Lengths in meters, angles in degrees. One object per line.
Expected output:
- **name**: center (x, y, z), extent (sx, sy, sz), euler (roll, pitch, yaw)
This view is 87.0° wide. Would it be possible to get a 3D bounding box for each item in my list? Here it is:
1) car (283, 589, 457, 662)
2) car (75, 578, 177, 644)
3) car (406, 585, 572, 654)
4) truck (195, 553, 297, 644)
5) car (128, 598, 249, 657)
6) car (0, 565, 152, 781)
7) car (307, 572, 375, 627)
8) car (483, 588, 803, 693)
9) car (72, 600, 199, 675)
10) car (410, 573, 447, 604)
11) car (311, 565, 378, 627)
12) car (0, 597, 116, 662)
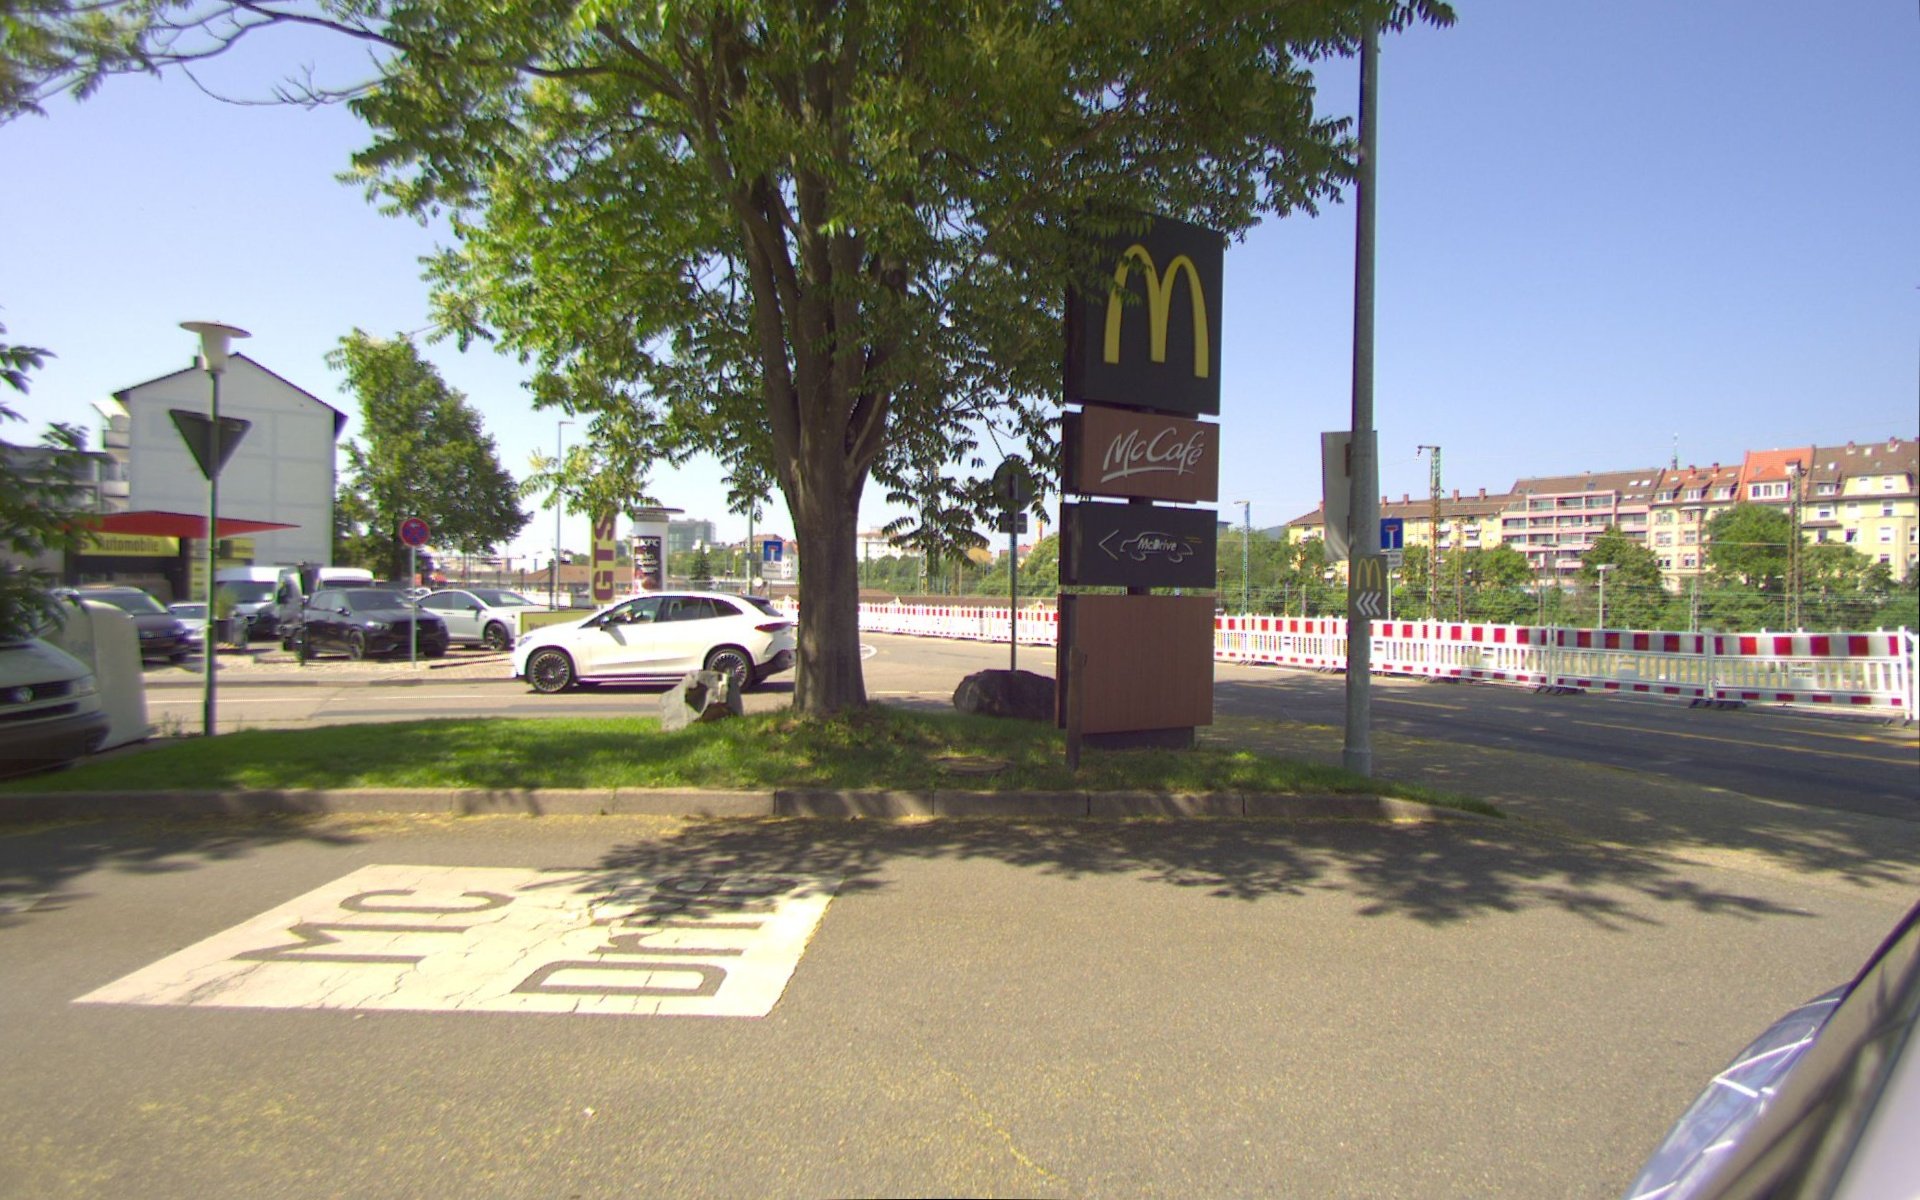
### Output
- **car**: center (-14.327, 0.572, 24.513), extent (4.395, 1.615, 2.027), euler (0, -1, 36)
- **car**: center (-27.699, 0.353, 33.751), extent (1.960, 2.039, 4.498), euler (1, -1, -31)
- **car**: center (-12.759, 0.509, 27.408), extent (3.956, 1.748, 1.983), euler (0, -1, 24)
- **truck**: center (-25.230, -0.033, 35.983), extent (2.230, 2.941, 5.950), euler (2, -1, -29)
- **car**: center (-21.264, 0.731, 28.073), extent (1.756, 1.506, 4.007), euler (1, -1, -24)
- **car**: center (-9.533, 0.496, 8.093), extent (4.947, 1.603, 1.953), euler (1, -1, 9)
- **car**: center (-21.500, -0.015, 35.258), extent (1.846, 1.760, 4.726), euler (2, -1, -31)
- **car**: center (-5.343, 0.657, 17.562), extent (4.936, 1.665, 2.000), euler (-1, 0, 1)
- **car**: center (-18.489, 0.782, 22.863), extent (1.759, 1.529, 4.001), euler (1, -1, -33)
- **car**: center (-45.630, -0.924, 86.806), extent (2.496, 2.552, 5.121), euler (1, -1, -32)
- **car**: center (-24.637, -0.144, 40.430), extent (2.101, 2.313, 4.712), euler (1, 0, -33)
- **car**: center (-24.569, 0.734, 25.799), extent (1.975, 1.605, 4.305), euler (0, -1, 20)
